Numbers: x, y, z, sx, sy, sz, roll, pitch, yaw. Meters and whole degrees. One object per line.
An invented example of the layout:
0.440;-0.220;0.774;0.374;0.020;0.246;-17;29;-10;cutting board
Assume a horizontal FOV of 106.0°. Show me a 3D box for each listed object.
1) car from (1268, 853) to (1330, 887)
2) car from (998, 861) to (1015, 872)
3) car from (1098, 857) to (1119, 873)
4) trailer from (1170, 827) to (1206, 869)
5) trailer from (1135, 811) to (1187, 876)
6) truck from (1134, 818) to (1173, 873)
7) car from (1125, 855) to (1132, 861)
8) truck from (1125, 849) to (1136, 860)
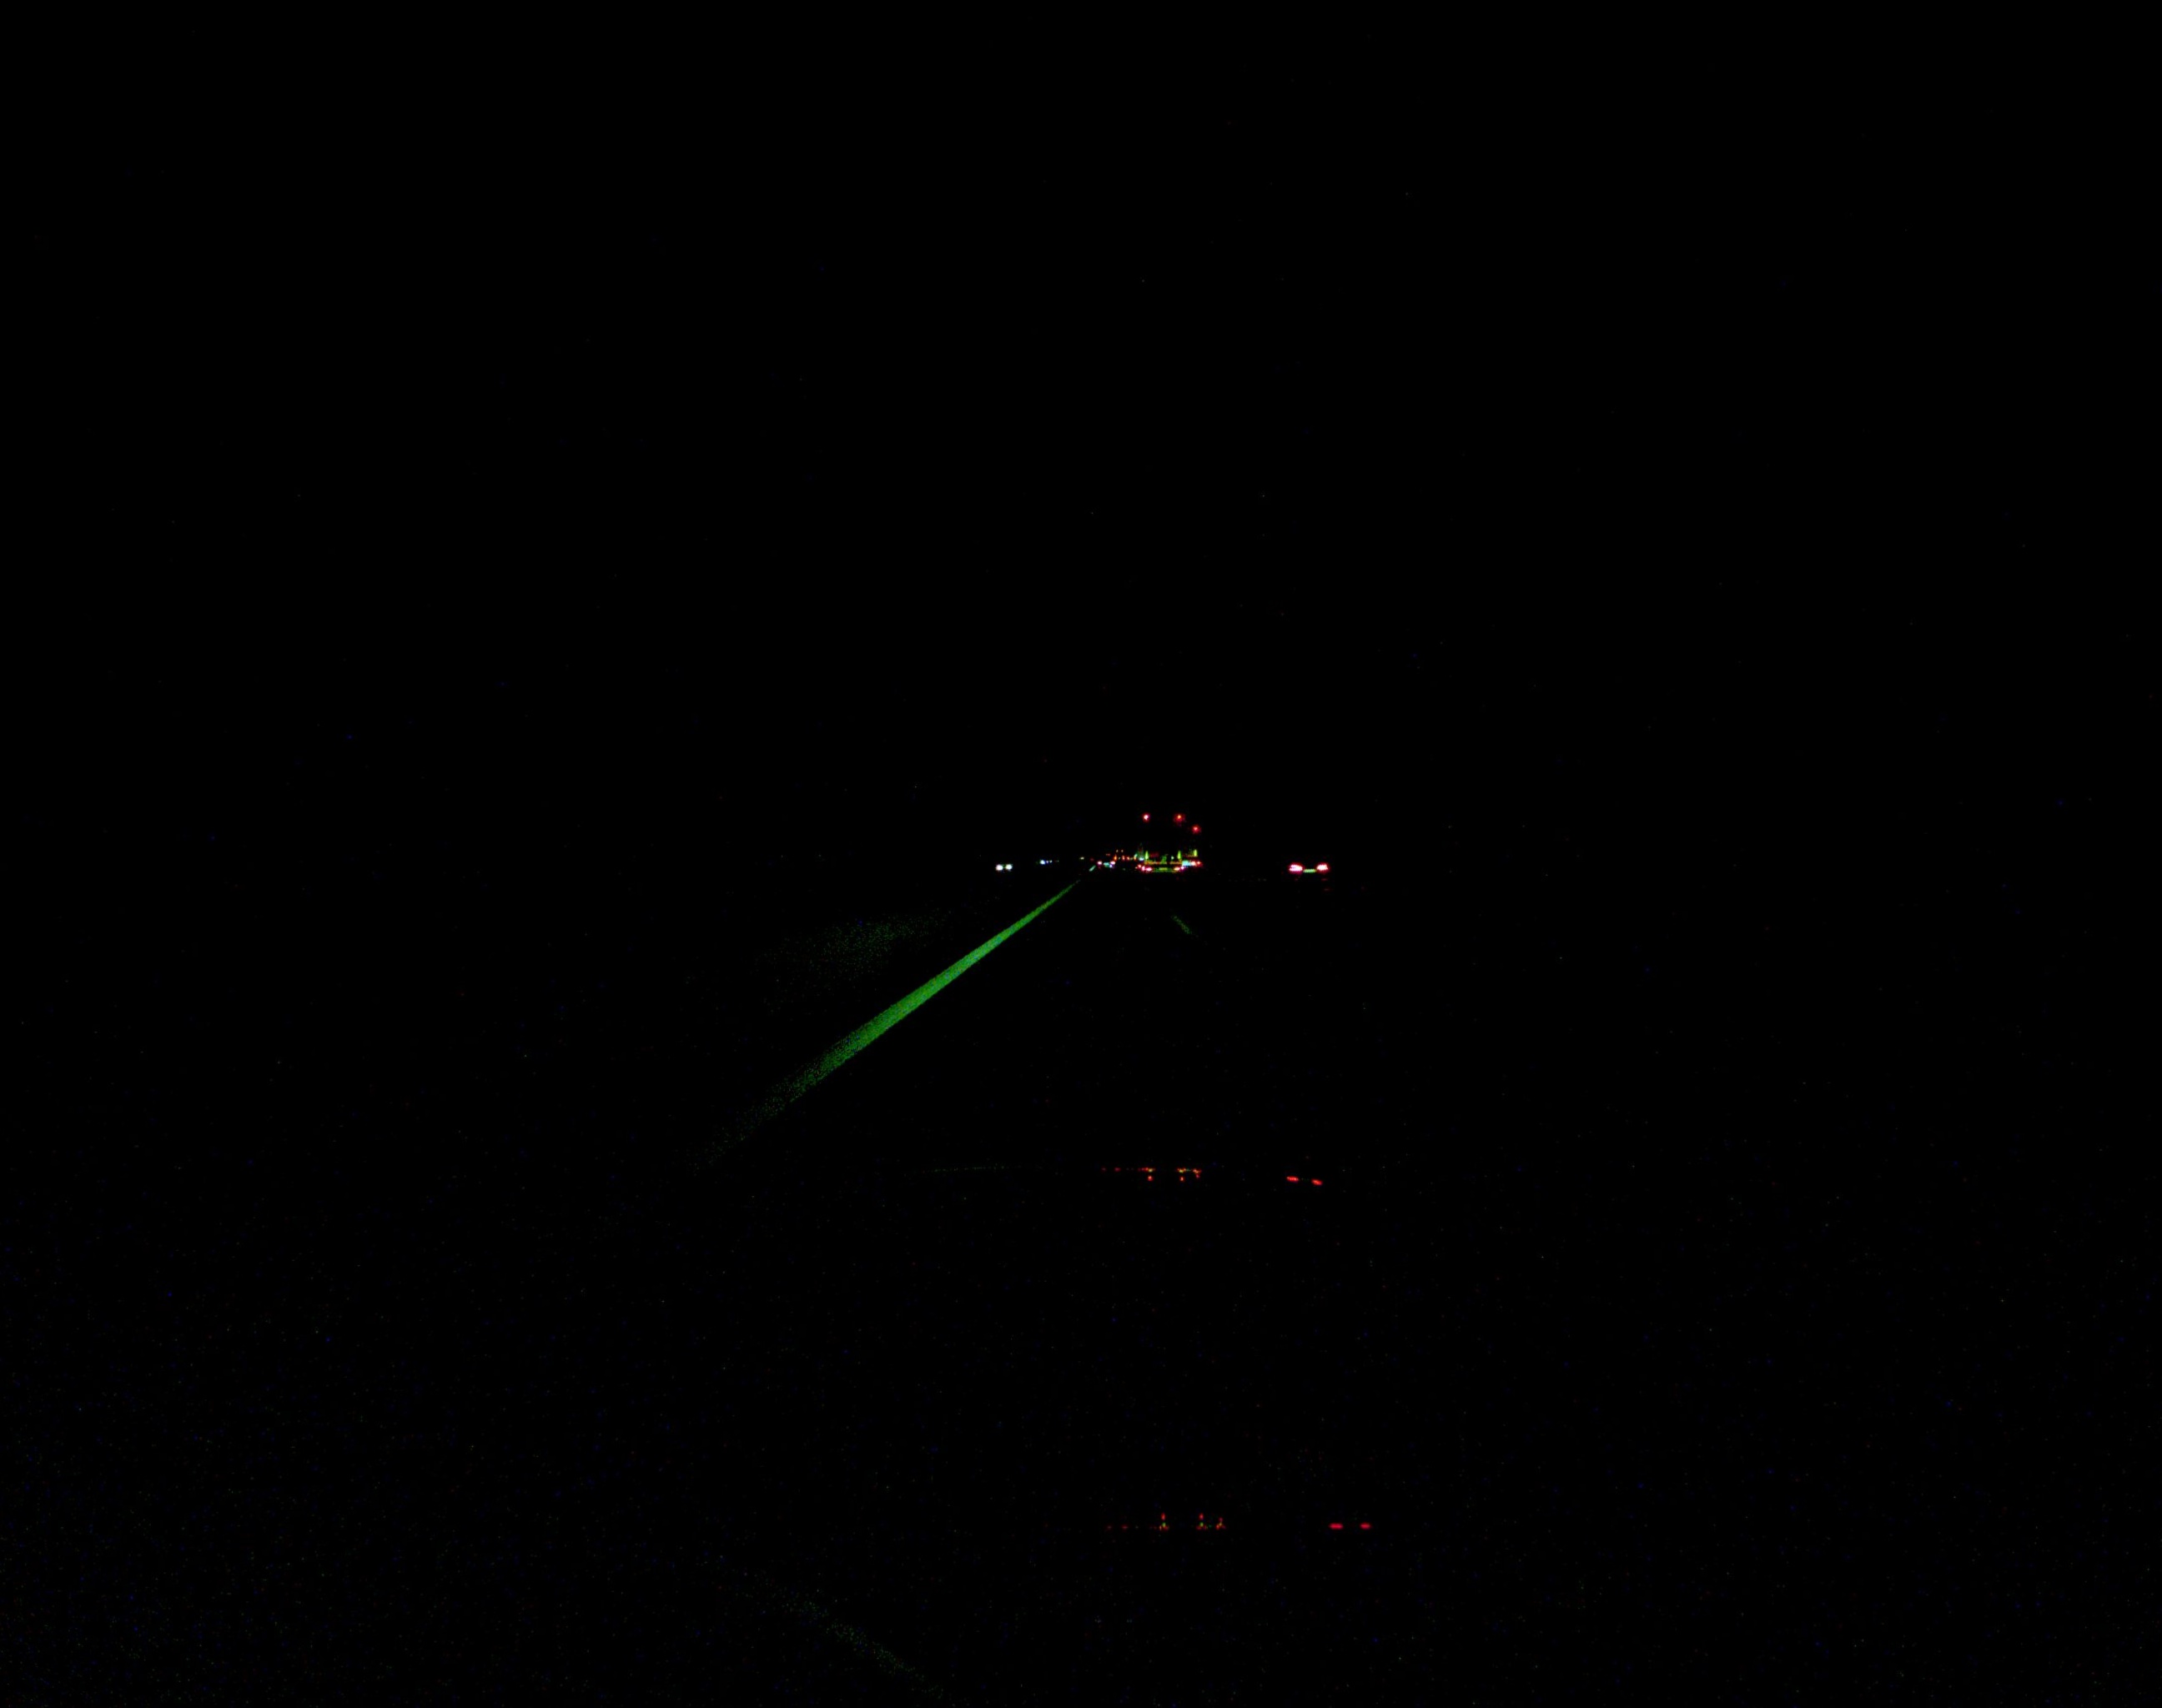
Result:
9.974;0.695;37.486;1.814;1.466;4.249;-1;0;2;car
-11.211;1.891;122.772;1.815;1.466;4.560;-5;0;1;car
2.596;1.010;77.742;1.815;1.466;4.247;-1;0;0;car
10.912;-0.570;83.952;2.582;4.072;10.010;-1;0;1;trailer
5.667;-0.638;59.883;2.732;4.206;13.512;-1;0;1;trailer
5.840;-0.627;66.503;2.652;4.206;6.723;-1;0;1;truck
10.443;0.914;178.169;1.341;1.387;3.501;-1;0;0;car
12.398;0.157;202.380;2.071;2.691;7.302;-1;-2;-2;truck
